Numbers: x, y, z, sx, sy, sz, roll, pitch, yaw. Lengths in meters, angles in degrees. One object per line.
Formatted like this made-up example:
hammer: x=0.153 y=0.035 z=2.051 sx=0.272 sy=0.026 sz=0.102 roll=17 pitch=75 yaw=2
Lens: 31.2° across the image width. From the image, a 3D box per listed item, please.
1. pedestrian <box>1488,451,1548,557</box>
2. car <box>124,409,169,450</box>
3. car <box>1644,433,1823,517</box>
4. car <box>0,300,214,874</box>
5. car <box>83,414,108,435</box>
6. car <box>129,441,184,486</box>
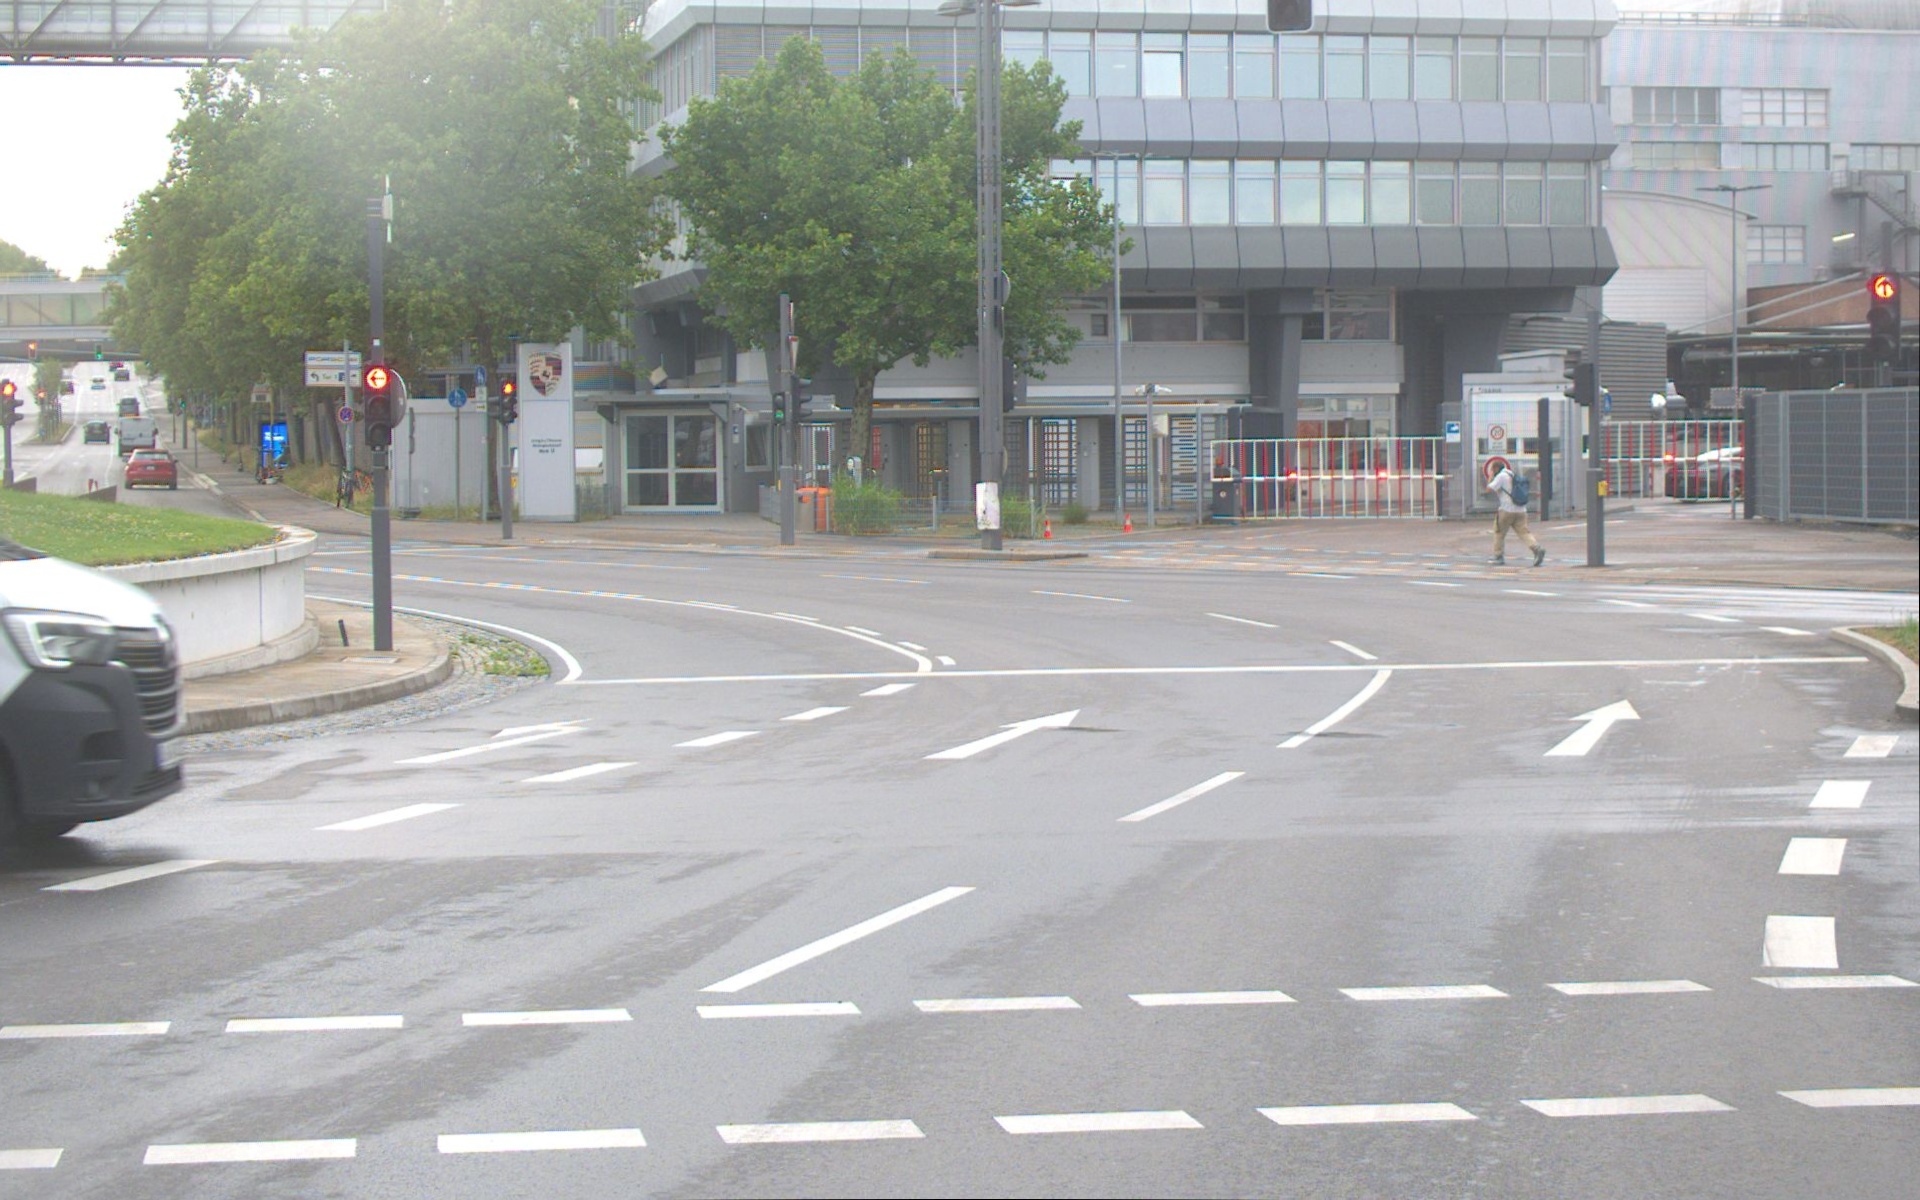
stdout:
pedestrian: x=8.547 y=-1.464 z=52.641 sx=0.808 sy=1.605 sz=0.769 roll=-1 pitch=0 yaw=17
car: x=-46.628 y=-9.758 z=197.110 sx=2.232 sy=2.100 sz=4.956 roll=-1 pitch=0 yaw=-11
car: x=18.790 y=-3.037 z=83.362 sx=1.999 sy=1.962 sz=4.882 roll=1 pitch=2 yaw=44
car: x=-6.316 y=-0.048 z=15.595 sx=5.408 sy=2.438 sz=2.000 roll=-1 pitch=2 yaw=-1
car: x=-58.404 y=-11.859 z=232.217 sx=1.556 sy=1.284 sz=3.415 roll=-1 pitch=0 yaw=-15
car: x=-28.307 y=-4.784 z=121.113 sx=1.772 sy=1.459 sz=3.734 roll=-1 pitch=0 yaw=-15
